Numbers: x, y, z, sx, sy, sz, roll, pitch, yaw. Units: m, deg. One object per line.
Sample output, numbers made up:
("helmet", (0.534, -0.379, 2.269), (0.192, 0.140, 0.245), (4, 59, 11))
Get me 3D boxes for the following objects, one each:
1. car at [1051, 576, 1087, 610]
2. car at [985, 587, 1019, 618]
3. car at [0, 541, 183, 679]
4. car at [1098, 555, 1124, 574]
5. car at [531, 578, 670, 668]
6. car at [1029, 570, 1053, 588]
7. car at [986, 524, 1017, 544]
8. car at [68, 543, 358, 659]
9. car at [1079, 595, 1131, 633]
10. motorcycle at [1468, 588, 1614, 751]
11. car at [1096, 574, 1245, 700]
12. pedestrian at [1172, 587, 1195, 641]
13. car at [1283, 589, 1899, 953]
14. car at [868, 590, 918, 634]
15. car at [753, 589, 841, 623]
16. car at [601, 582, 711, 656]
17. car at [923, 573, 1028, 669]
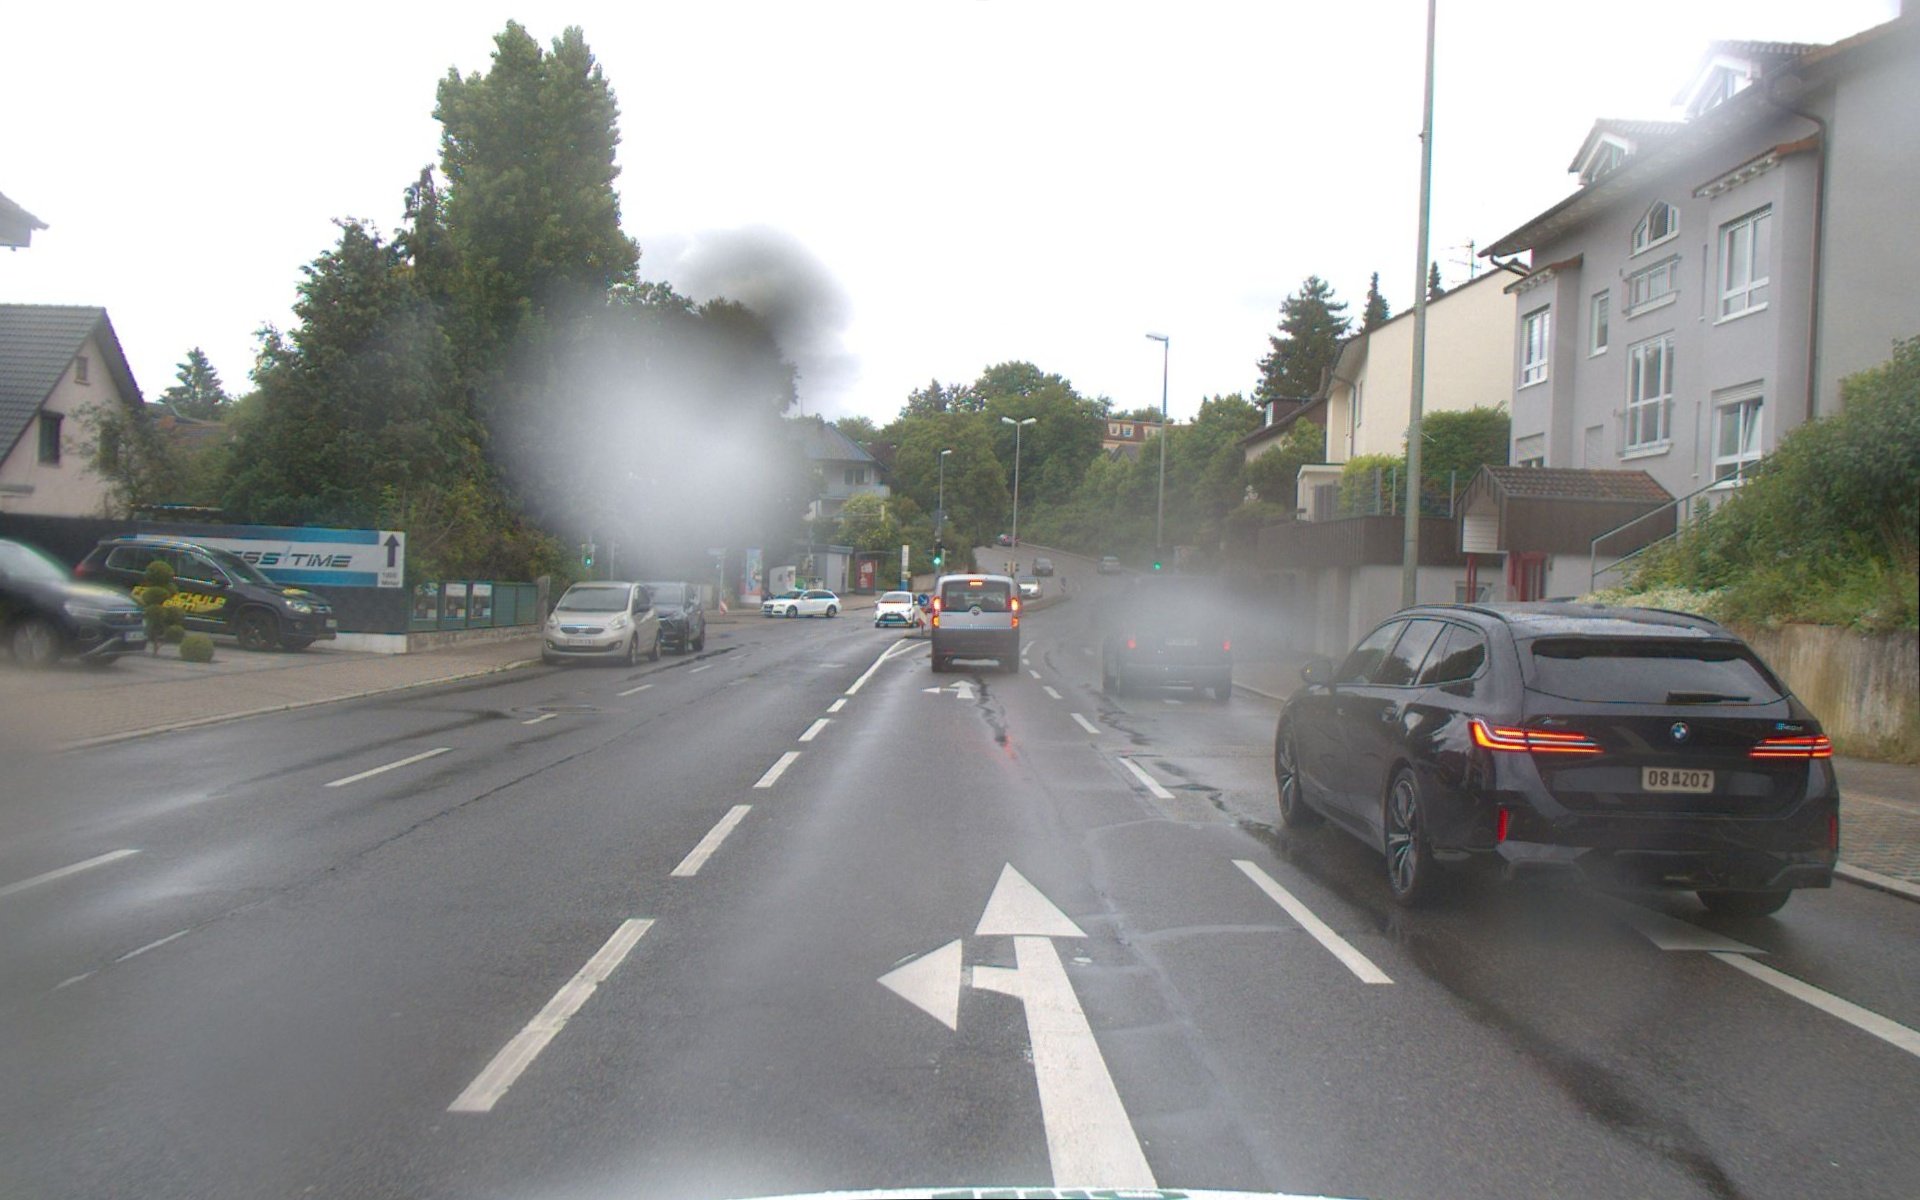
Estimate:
("car", (7.771, -0.521, 117.972), (2.469, 2.048, 5.612), (2, 3, 4))
("car", (2.553, 0.132, 101.157), (1.953, 1.803, 4.000), (1, 0, 0))
("car", (-12.554, 0.012, 21.411), (3.991, 1.542, 1.855), (6, 0, -1))
("car", (13.946, -3.227, 152.906), (1.953, 1.612, 4.000), (2, 0, 0))
("car", (-7.034, 0.427, 32.713), (1.846, 1.612, 4.000), (2, 0, 0))
("car", (7.343, -1.896, 150.498), (1.953, 1.612, 4.000), (2, 0, 0))
("car", (4.851, -7.673, 192.237), (2.476, 2.048, 5.596), (2, 3, -10))
("car", (-12.709, 0.014, 28.343), (3.991, 1.542, 1.855), (6, 0, -1))
("car", (6.462, 0.610, 74.142), (1.953, 1.606, 4.000), (1, 0, 0))
("motorcycle", (5.834, 0.659, 16.747), (0.689, 1.536, 2.150), (-1, 0, 0))
("car", (3.249, 0.543, 26.232), (1.801, 1.798, 4.000), (2, 0, 0))
("pedestrian", (8.561, 0.531, 63.326), (0.854, 2.049, 0.879), (1, 0, 7))
("car", (3.117, 0.737, 9.155), (1.952, 1.509, 4.001), (2, 0, 2))
("car", (-2.866, 0.493, 71.357), (1.953, 1.803, 4.000), (2, 0, 0))
("car", (-8.276, 0.321, 84.176), (1.961, 1.574, 4.376), (2, 0, 38))
("car", (-7.148, 0.422, 39.230), (1.846, 1.612, 4.000), (2, 0, 0))
("car", (0.290, 0.398, 33.435), (1.953, 1.768, 4.000), (2, 0, 0))
